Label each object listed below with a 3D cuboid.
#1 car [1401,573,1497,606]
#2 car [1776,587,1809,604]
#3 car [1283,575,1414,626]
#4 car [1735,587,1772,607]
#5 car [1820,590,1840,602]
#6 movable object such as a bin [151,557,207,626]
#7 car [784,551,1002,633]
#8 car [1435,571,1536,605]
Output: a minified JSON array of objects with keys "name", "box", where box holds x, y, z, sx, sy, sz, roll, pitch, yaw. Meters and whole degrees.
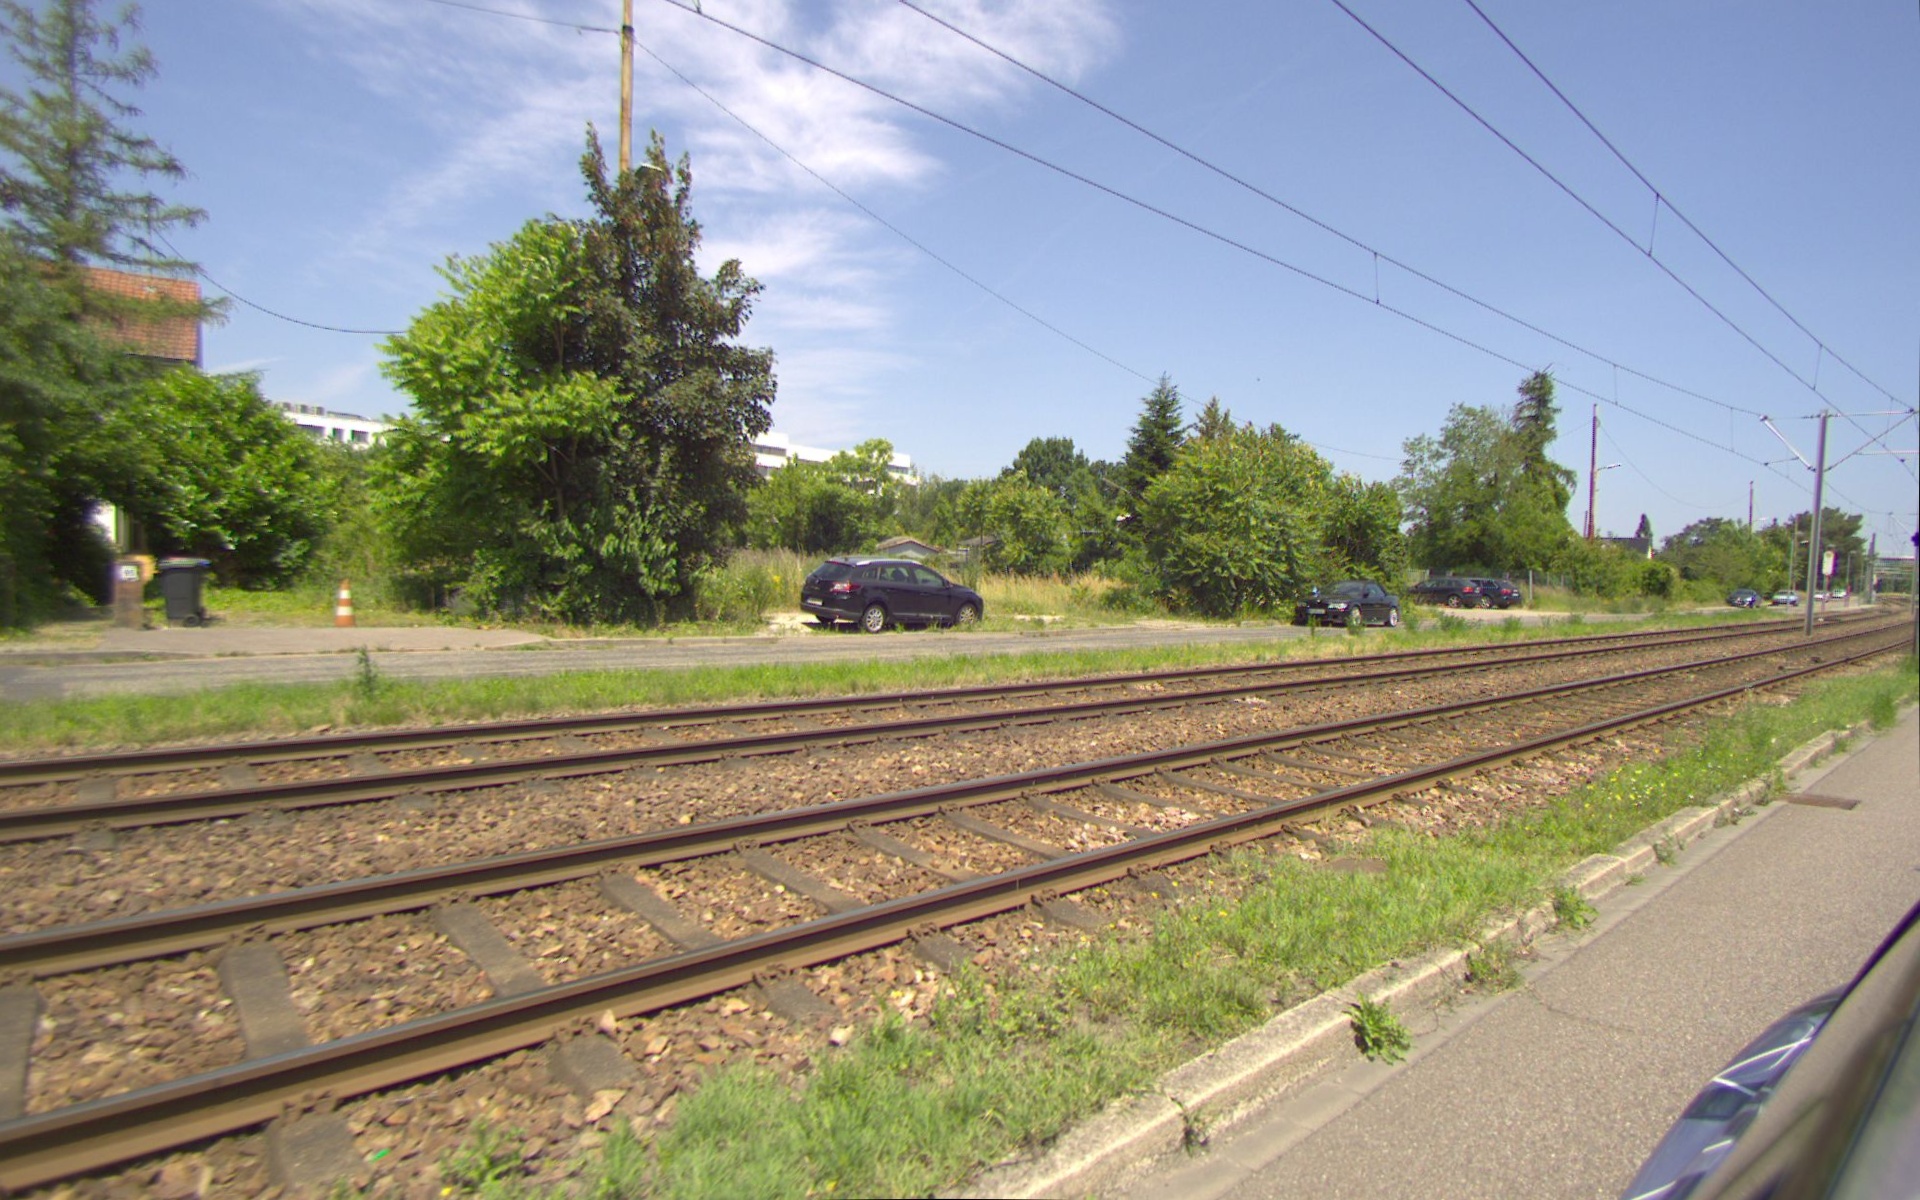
[{"name":"car","box":[23.600,-0.537,48.941,1.866,1.436,3.735,0,2,-41]},{"name":"car","box":[74.360,-0.393,90.391,1.940,1.439,3.935,3,3,45]},{"name":"car","box":[11.524,-0.015,29.904,4.440,1.346,1.863,-1,3,-43]},{"name":"car","box":[61.037,-0.227,77.802,4.793,1.439,1.621,-1,3,-44]},{"name":"car","box":[112.092,-0.496,130.427,1.713,1.507,3.938,3,2,43]},{"name":"movable object such as a bin","box":[-11.192,-0.130,14.501,0.610,0.949,0.725,0,2,-40]},{"name":"car","box":[-1.352,-0.202,21.818,4.480,1.580,1.937,-1,2,-43]},{"name":"car","box":[25.955,-0.629,50.052,1.863,1.536,4.000,0,2,-36]}]
